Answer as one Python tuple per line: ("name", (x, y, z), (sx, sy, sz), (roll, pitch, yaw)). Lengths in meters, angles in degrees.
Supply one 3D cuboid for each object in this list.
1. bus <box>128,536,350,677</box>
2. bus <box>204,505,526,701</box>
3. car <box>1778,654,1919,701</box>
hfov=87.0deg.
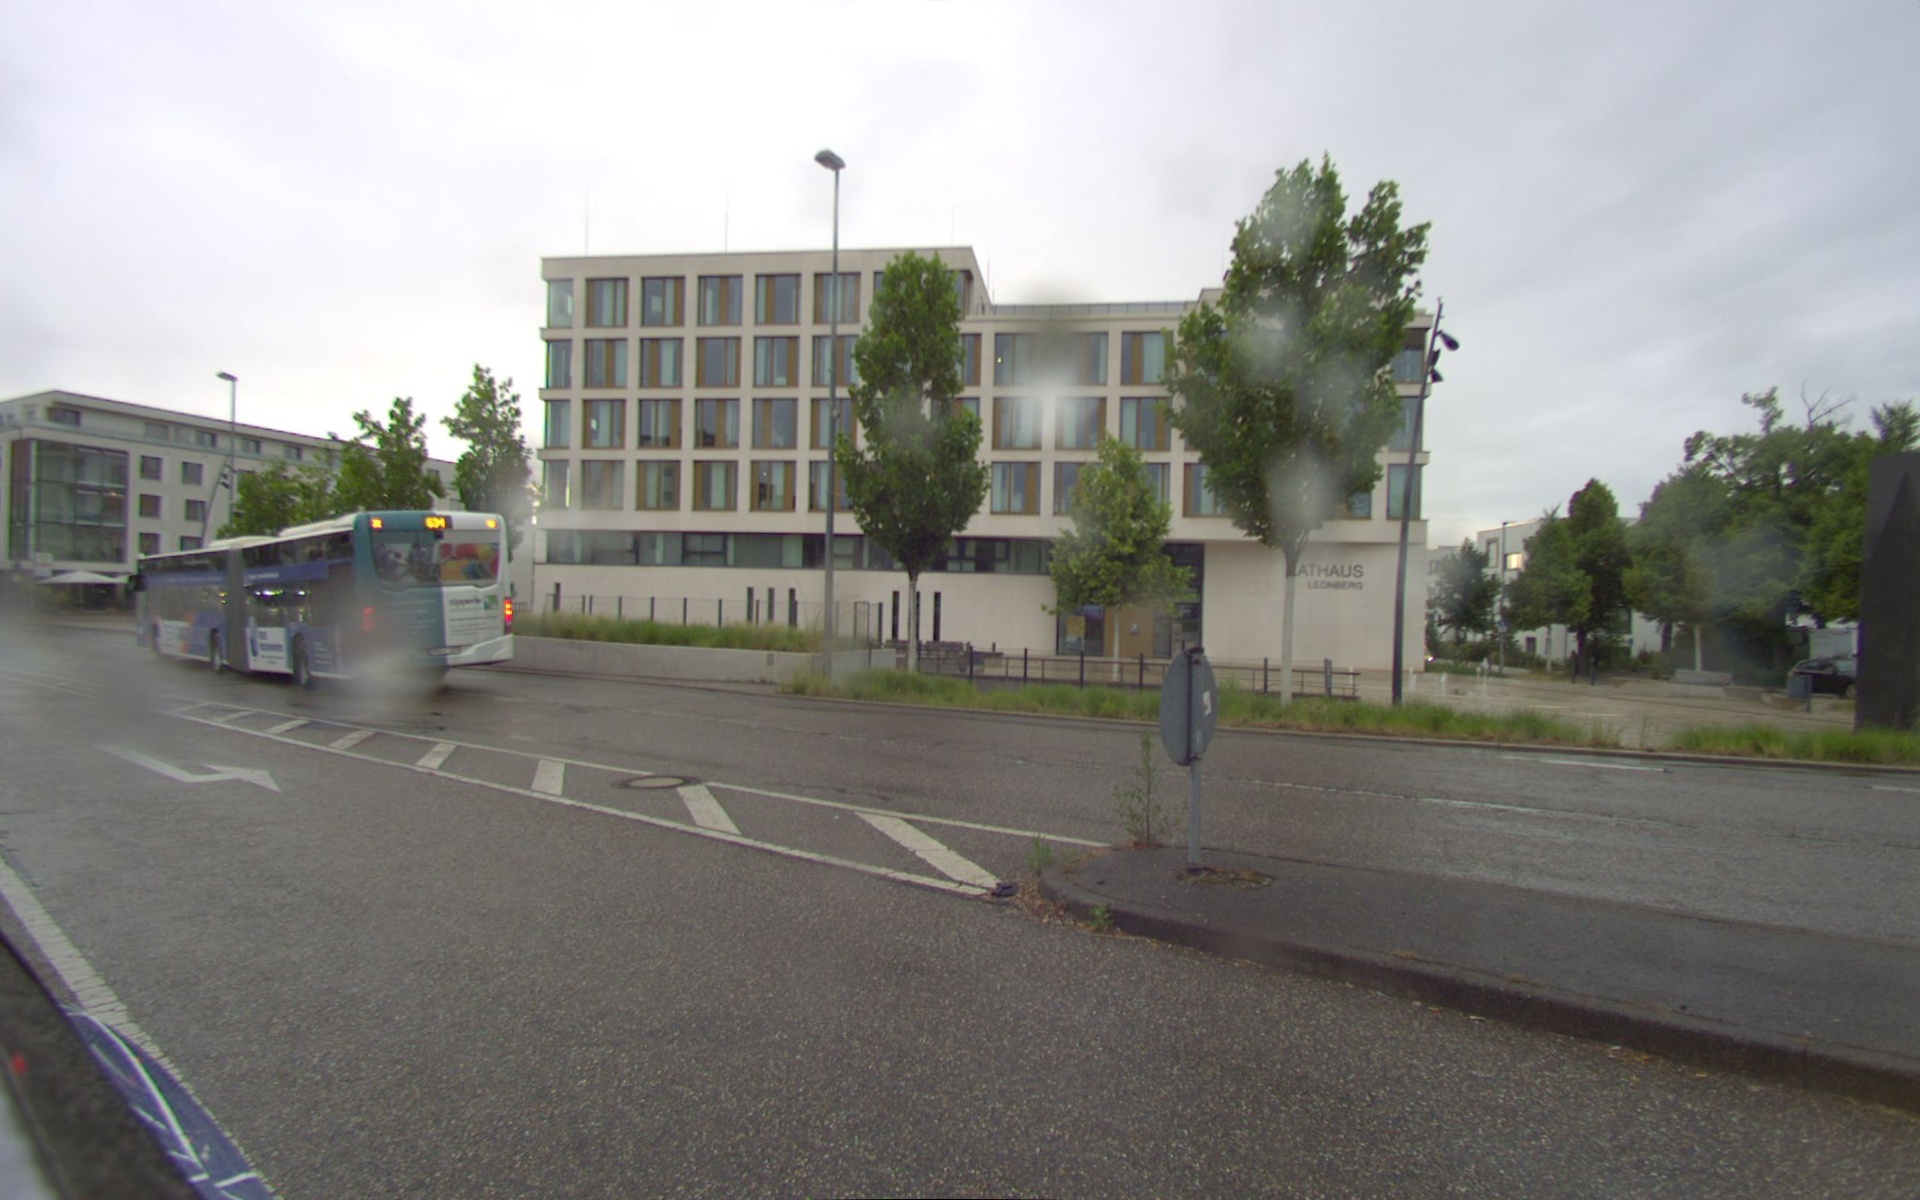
("bus", (-19.054, 0.205, 26.443), (8.880, 3.138, 2.762), (-1, -2, 42))
("bus", (-12.295, 0.115, 20.362), (9.364, 3.138, 2.747), (-1, -2, 41))
("car", (30.832, 2.644, 35.273), (1.771, 1.401, 4.266), (0, -2, 11))
